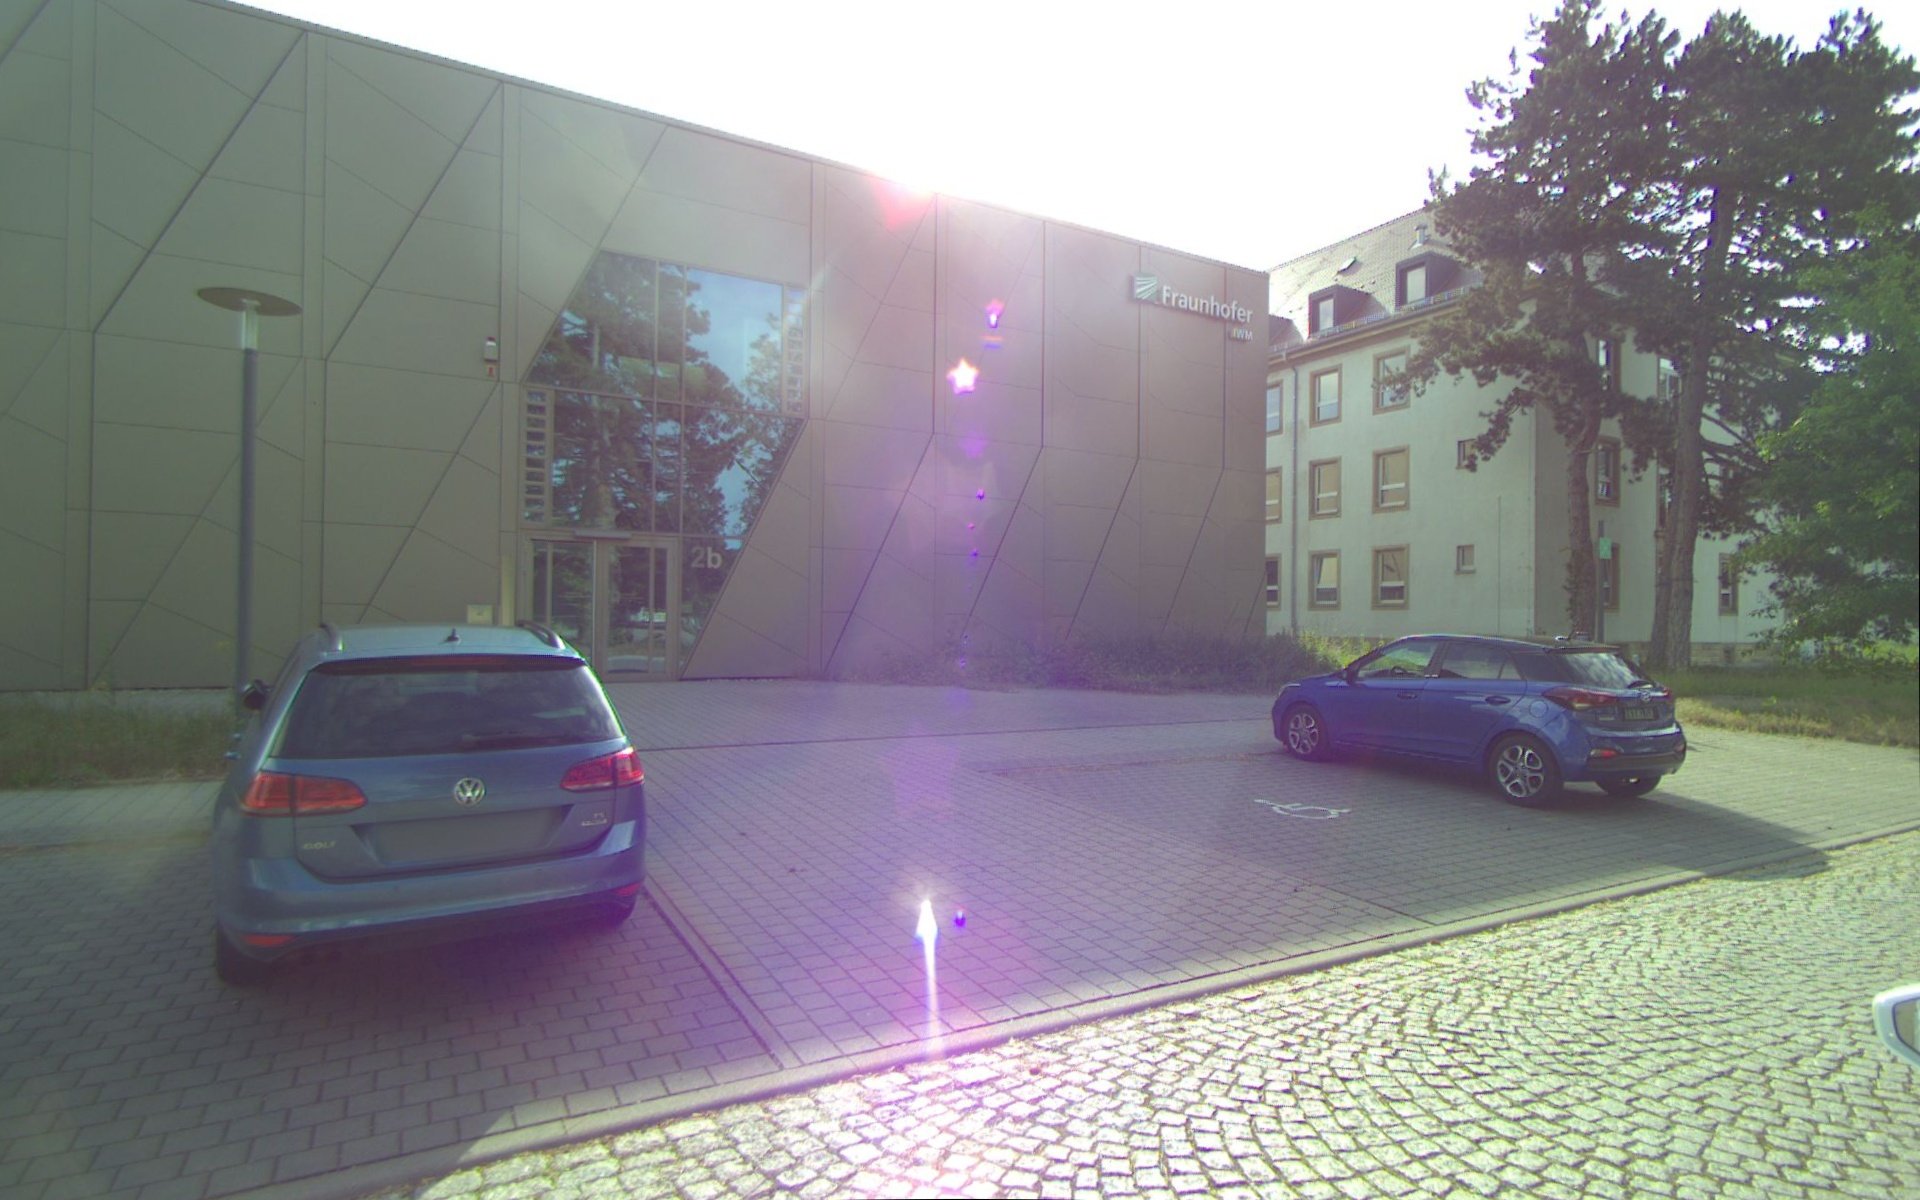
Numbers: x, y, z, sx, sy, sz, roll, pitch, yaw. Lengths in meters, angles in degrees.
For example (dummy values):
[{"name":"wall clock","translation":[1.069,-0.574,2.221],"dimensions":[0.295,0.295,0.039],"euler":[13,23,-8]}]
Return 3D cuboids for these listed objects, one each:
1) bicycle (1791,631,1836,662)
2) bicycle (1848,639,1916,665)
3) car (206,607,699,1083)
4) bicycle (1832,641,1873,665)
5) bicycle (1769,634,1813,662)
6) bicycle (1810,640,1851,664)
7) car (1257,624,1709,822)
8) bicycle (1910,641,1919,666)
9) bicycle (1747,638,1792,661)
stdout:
[{"name":"bicycle","translation":[40.904,2.230,48.131],"dimensions":[2.523,1.456,0.822],"euler":[1,-1,-30]},{"name":"bicycle","translation":[41.028,2.295,44.712],"dimensions":[0.819,1.123,2.105],"euler":[1,-2,-32]},{"name":"car","translation":[-2.907,0.842,5.620],"dimensions":[1.662,1.484,4.234],"euler":[-1,1,-31]},{"name":"bicycle","translation":[41.400,2.446,46.604],"dimensions":[2.099,1.061,0.822],"euler":[1,-2,-30]},{"name":"bicycle","translation":[40.275,2.310,48.657],"dimensions":[2.523,1.298,0.822],"euler":[1,-1,-30]},{"name":"bicycle","translation":[40.989,2.439,47.267],"dimensions":[2.099,1.061,0.822],"euler":[1,-2,-30]},{"name":"car","translation":[5.075,1.072,10.308],"dimensions":[1.698,1.483,3.820],"euler":[2,0,-28]},{"name":"bicycle","translation":[42.125,2.311,42.900],"dimensions":[0.819,1.061,2.105],"euler":[1,-2,-32]},{"name":"bicycle","translation":[39.843,2.422,49.444],"dimensions":[2.523,1.061,0.896],"euler":[1,-2,-30]}]
